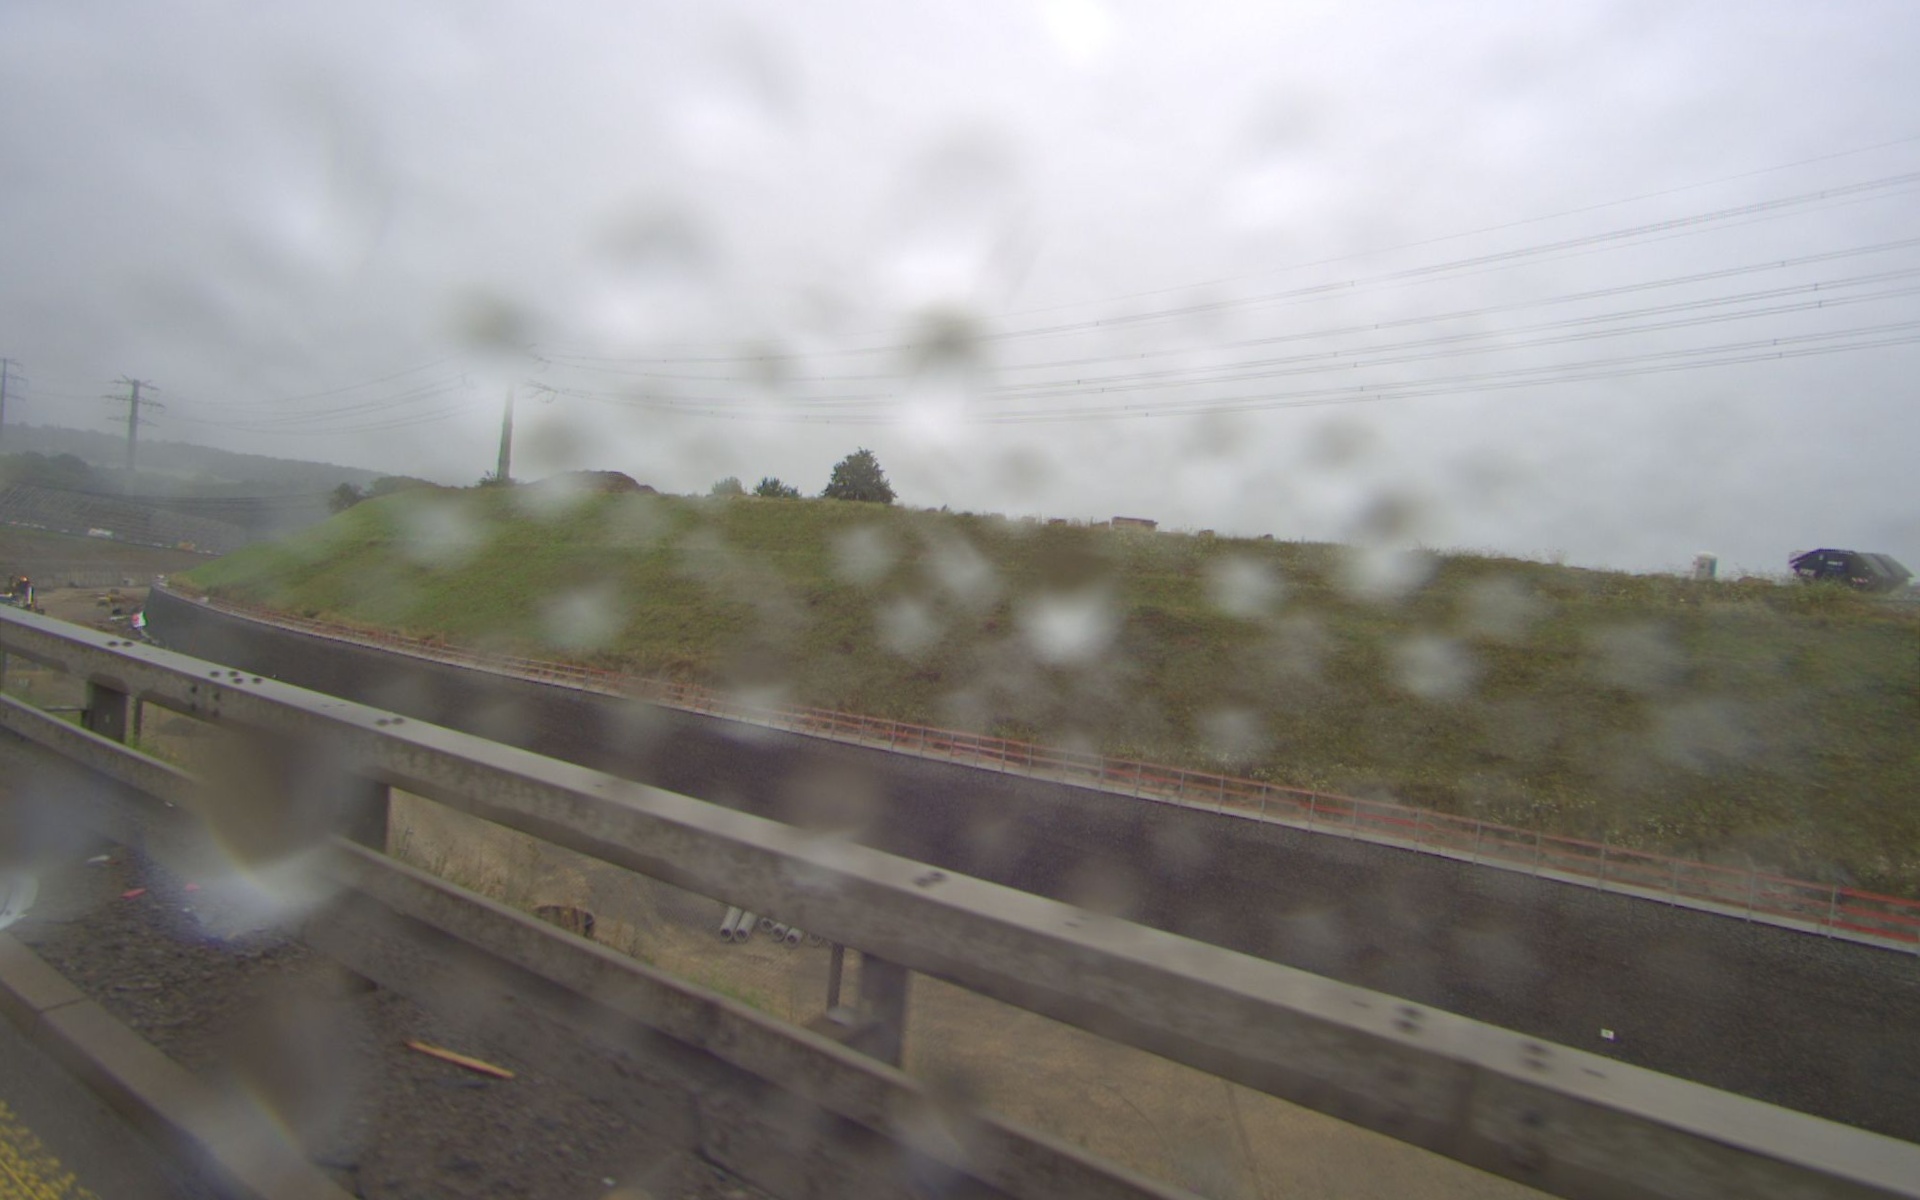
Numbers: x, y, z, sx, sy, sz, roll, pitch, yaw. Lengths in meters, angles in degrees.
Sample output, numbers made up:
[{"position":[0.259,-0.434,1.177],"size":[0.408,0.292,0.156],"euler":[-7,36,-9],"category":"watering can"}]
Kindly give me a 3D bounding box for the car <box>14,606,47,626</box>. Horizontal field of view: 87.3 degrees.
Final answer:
[{"position":[-121.263,2.096,131.209],"size":[3.940,2.036,2.367],"euler":[6,-3,38],"category":"car"}]

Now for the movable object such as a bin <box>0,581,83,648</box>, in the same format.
[{"position":[-63.798,1.012,69.756],"size":[4.057,3.910,3.220],"euler":[7,-3,35],"category":"movable object such as a bin"}]

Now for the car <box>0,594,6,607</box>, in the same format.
[{"position":[-174.392,0.066,182.145],"size":[1.986,2.036,3.957],"euler":[9,-3,-39],"category":"car"}]

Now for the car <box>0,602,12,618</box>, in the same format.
[{"position":[-135.243,1.306,141.573],"size":[3.943,1.837,1.993],"euler":[5,-2,40],"category":"car"}]
